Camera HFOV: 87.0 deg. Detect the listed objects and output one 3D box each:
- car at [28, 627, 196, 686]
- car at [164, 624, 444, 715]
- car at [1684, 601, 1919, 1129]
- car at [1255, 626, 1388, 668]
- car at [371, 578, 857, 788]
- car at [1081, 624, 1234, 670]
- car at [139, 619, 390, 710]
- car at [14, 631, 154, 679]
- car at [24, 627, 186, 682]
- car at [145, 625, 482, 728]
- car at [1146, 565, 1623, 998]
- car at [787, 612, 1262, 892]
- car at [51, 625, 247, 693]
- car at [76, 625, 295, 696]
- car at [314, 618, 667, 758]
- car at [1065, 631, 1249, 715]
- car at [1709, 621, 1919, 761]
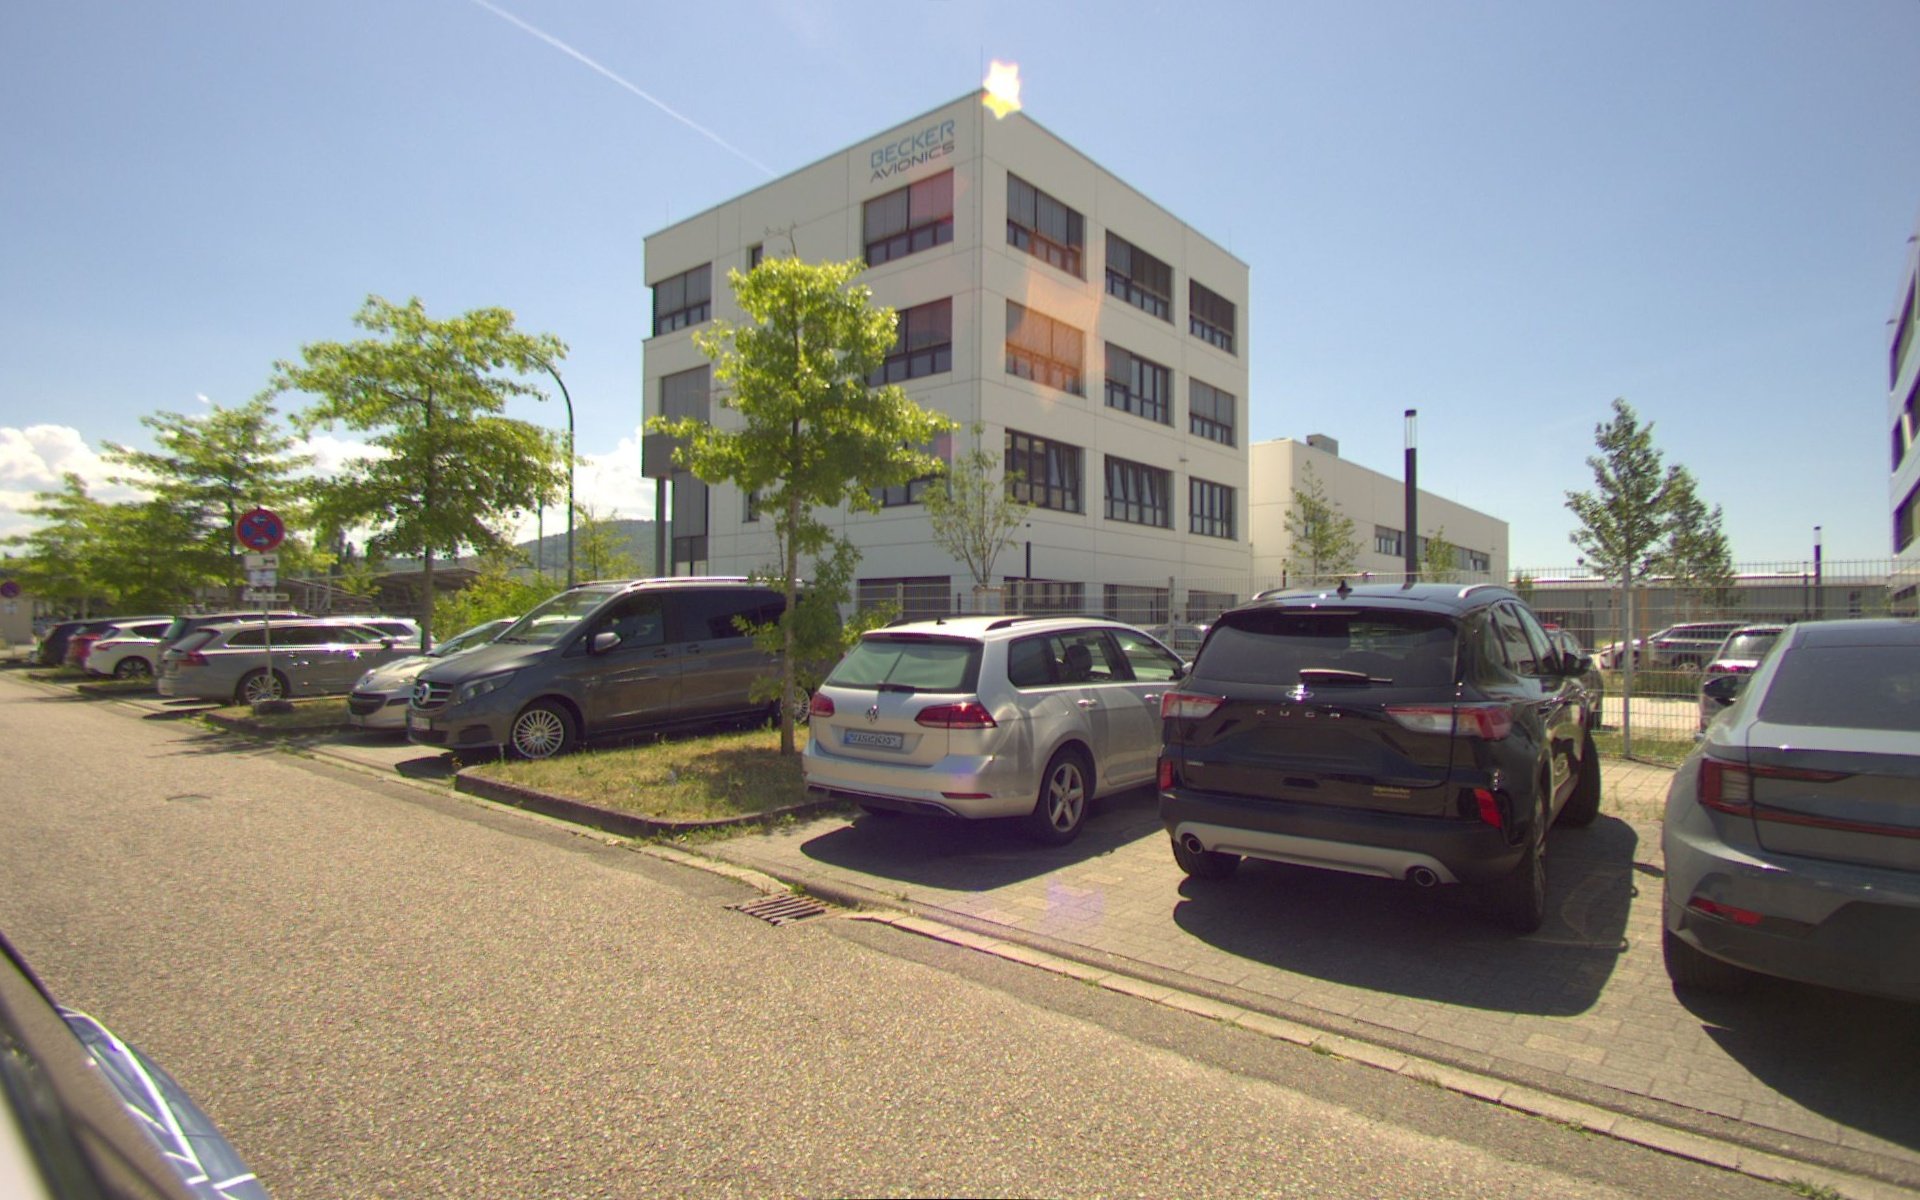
[{"bbox_3d":[-26.271,1.704,31.418,1.728,1.604,3.862,-2,-1,45],"label":"car"},{"bbox_3d":[-12.641,1.273,19.746,1.725,1.484,4.269,-2,-1,39],"label":"car"},{"bbox_3d":[4.392,0.770,4.302,1.712,1.491,4.149,-2,0,41],"label":"car"},{"bbox_3d":[12.849,1.647,36.047,3.999,1.237,1.973,2,-1,41],"label":"car"},{"bbox_3d":[-3.743,0.782,11.752,1.997,1.906,5.015,-2,-2,42],"label":"car"},{"bbox_3d":[5.824,1.355,30.050,3.998,1.237,1.973,-1,-2,41],"label":"car"},{"bbox_3d":[-14.523,1.269,21.297,1.727,1.647,4.073,-2,-1,43],"label":"car"},{"bbox_3d":[-30.181,1.867,34.926,1.726,1.452,3.468,-2,-1,40],"label":"car"},{"bbox_3d":[-28.134,1.742,33.392,1.827,1.605,3.802,-2,-1,38],"label":"car"},{"bbox_3d":[-11.187,1.232,17.818,1.856,1.458,4.665,-2,-1,40],"label":"car"},{"bbox_3d":[2.805,0.708,6.091,1.774,1.691,3.951,-1,0,36],"label":"car"},{"bbox_3d":[0.742,0.871,7.657,1.602,1.472,3.998,-2,0,38],"label":"car"},{"bbox_3d":[-21.591,1.521,27.053,1.725,1.604,3.801,-2,-1,39],"label":"car"},{"bbox_3d":[-19.343,1.472,25.402,1.807,1.524,4.127,-3,-2,42],"label":"car"},{"bbox_3d":[-6.165,1.054,13.627,1.763,1.495,3.927,-2,-1,41],"label":"car"},{"bbox_3d":[3.650,1.282,18.232,1.675,1.342,3.949,-2,-4,37],"label":"car"},{"bbox_3d":[10.115,1.013,12.063,1.677,1.401,3.443,-2,-4,40],"label":"car"}]
